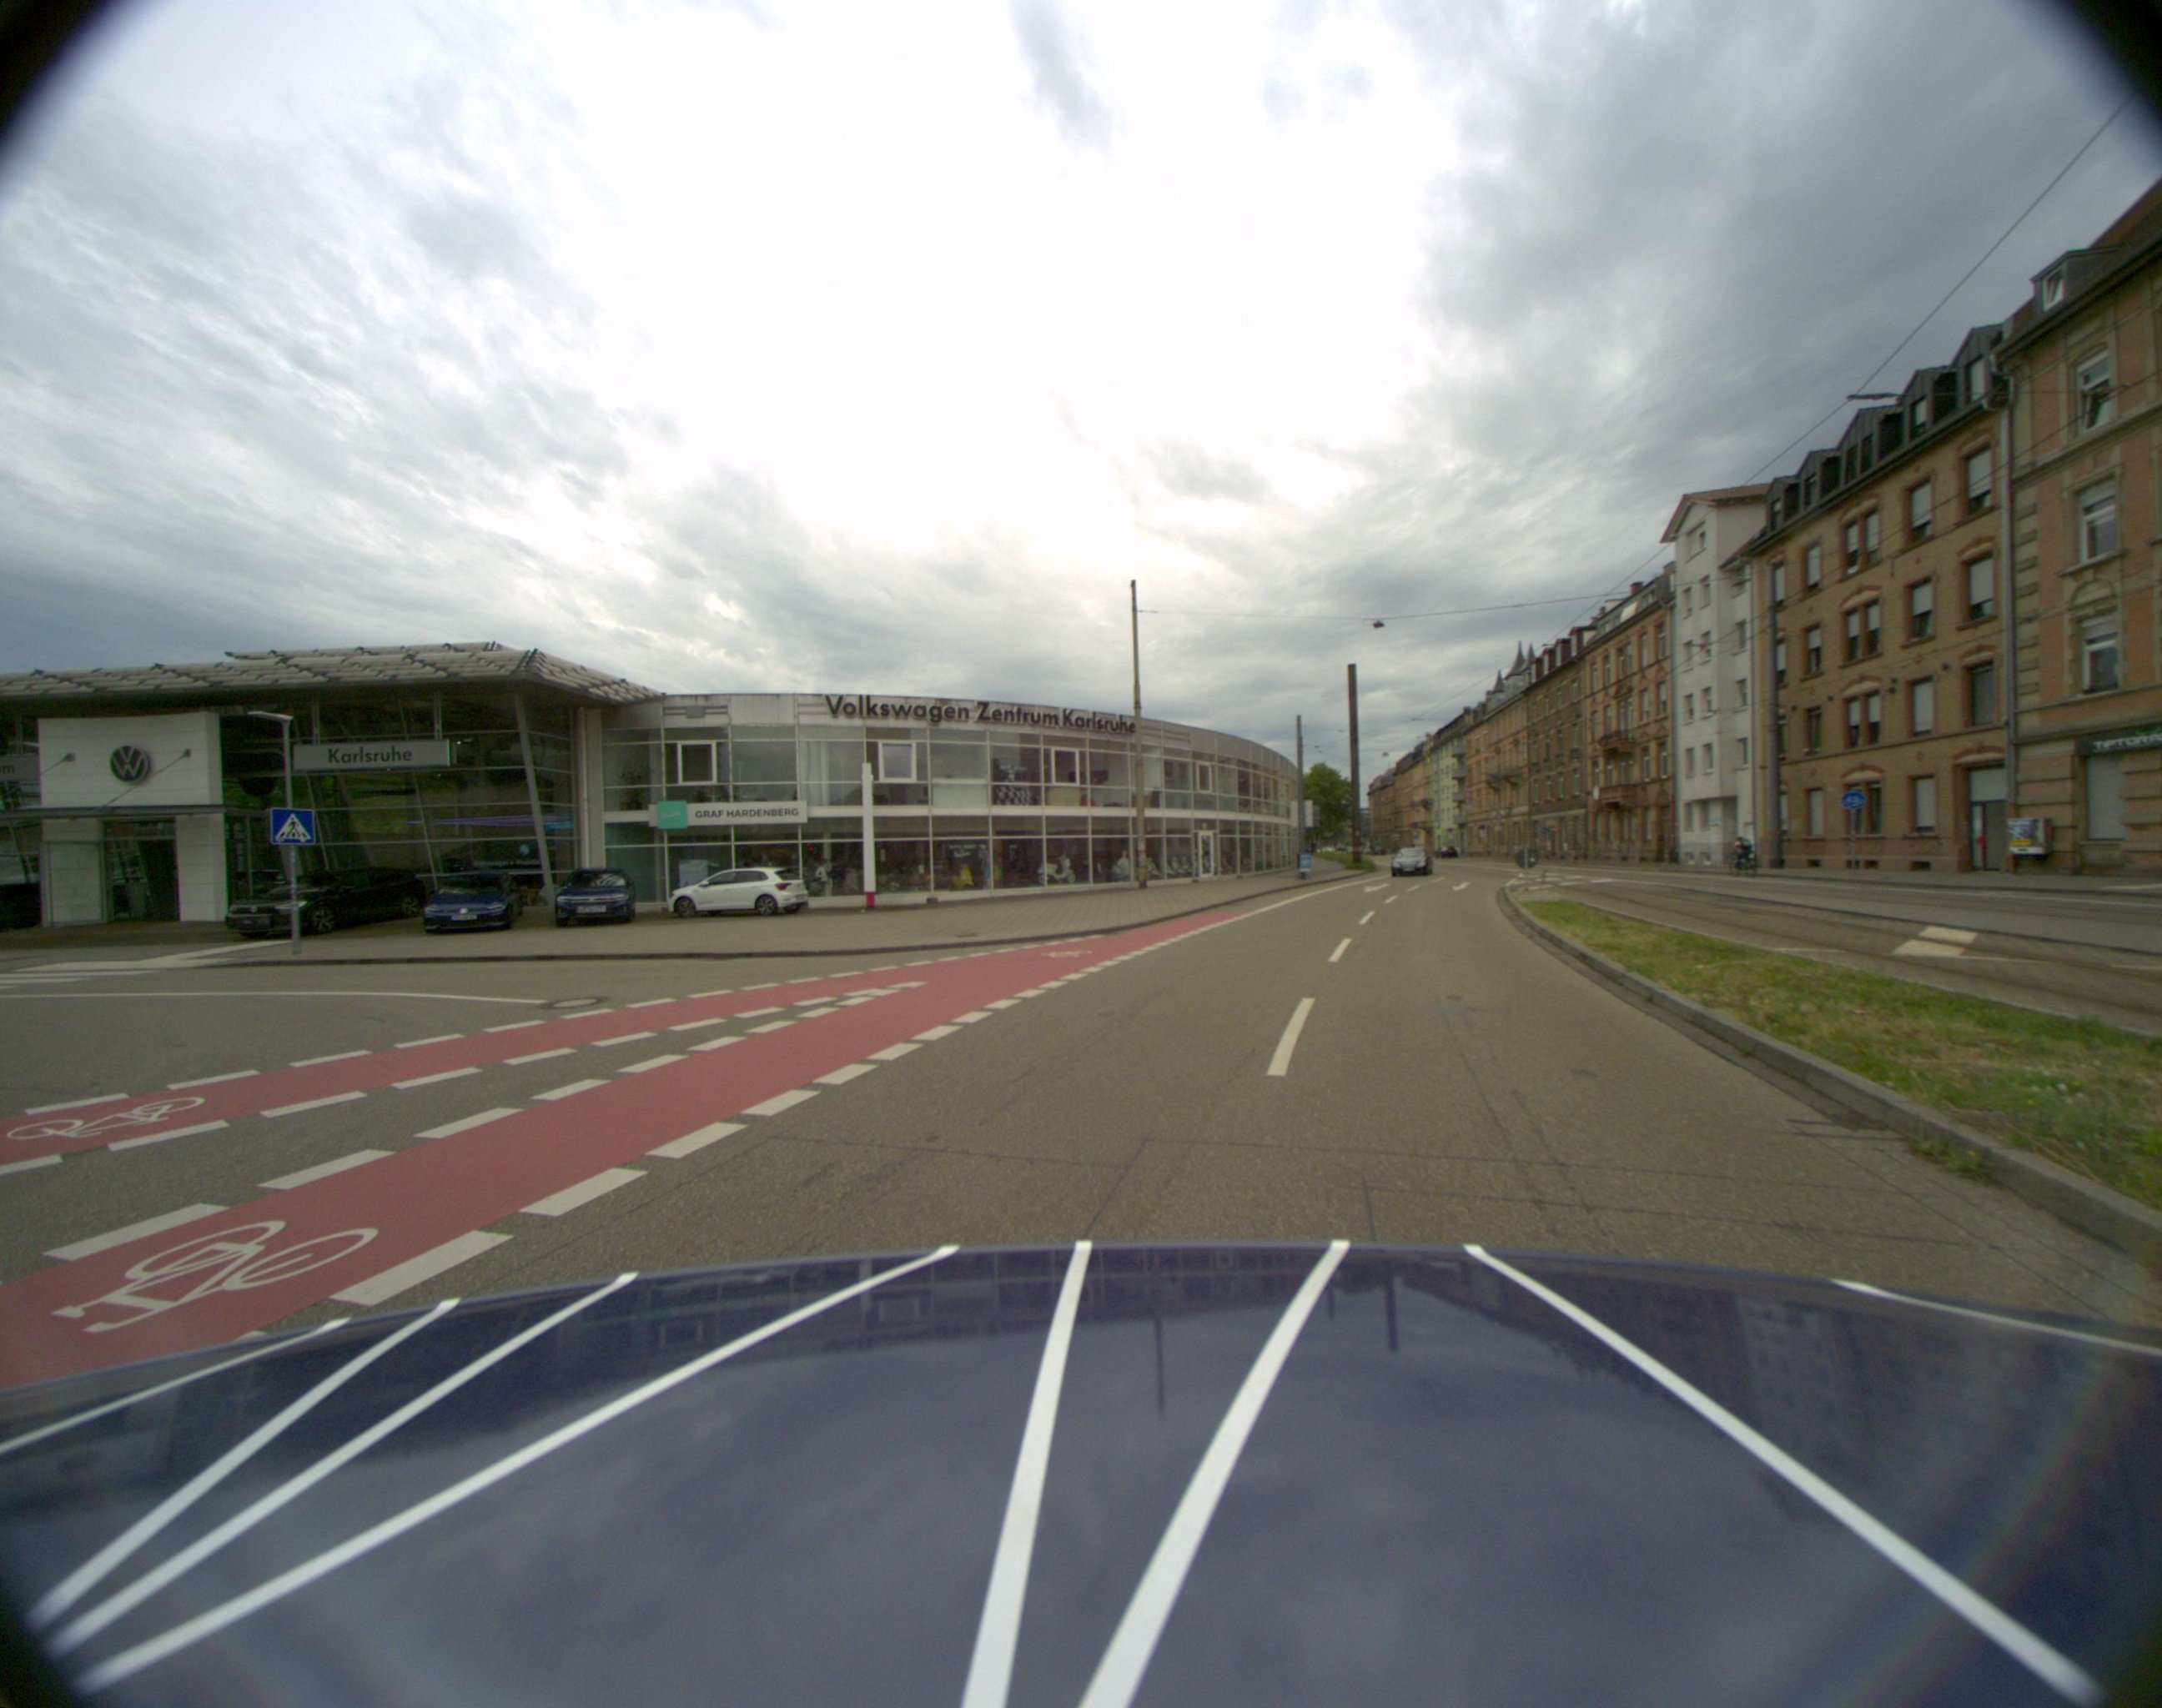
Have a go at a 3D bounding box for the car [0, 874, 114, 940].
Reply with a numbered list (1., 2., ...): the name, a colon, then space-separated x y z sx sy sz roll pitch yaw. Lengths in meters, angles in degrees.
1. car: -31.943 1.659 21.990 1.896 1.688 4.473 -2 4 3

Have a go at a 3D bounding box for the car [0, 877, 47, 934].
1. car: -34.654 1.763 22.261 1.859 1.690 4.773 -2 4 3

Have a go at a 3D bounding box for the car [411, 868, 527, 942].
1. car: -16.598 1.291 20.839 1.861 1.496 4.327 -2 3 -31

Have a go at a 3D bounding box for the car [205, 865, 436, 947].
1. car: -20.798 1.323 21.147 1.860 1.624 4.505 -3 4 -2

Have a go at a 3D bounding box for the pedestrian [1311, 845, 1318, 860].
1. pedestrian: 29.615 -0.160 96.441 0.870 1.843 0.706 -1 1 16

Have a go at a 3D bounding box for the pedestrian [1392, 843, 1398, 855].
1. pedestrian: 55.736 -0.881 134.801 0.813 2.002 0.734 -1 1 16

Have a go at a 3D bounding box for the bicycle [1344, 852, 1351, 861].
1. bicycle: 32.301 0.337 92.021 0.726 1.003 2.179 -1 0 22

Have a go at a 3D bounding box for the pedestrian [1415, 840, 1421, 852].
1. pedestrian: 53.800 -1.290 121.272 0.809 2.002 0.879 -1 1 16

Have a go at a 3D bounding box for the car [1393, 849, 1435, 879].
1. car: 17.178 0.503 39.101 1.711 1.413 4.076 -1 0 27

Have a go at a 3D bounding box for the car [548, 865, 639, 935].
1. car: -13.862 1.220 21.814 1.904 1.554 4.209 -2 3 -30

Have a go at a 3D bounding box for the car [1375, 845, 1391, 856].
1. car: 46.278 -0.486 116.395 1.800 1.630 4.235 -1 0 16

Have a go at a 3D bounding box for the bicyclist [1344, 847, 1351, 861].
1. bicyclist: 32.233 -0.010 91.843 0.729 1.747 0.912 -1 1 22

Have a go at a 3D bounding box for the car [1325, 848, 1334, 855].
1. car: 59.589 -0.617 182.121 1.800 1.630 4.235 -1 0 16

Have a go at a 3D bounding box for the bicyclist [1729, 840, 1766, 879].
1. bicyclist: 25.755 0.203 29.379 0.662 1.485 0.943 -2 1 12

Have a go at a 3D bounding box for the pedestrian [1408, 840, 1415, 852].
1. pedestrian: 52.908 -1.272 121.617 0.809 2.002 0.701 -1 1 16

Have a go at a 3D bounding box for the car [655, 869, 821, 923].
1. car: -10.402 1.251 23.209 4.258 1.444 1.784 -2 0 6

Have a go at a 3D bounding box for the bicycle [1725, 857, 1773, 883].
1. bicycle: 25.748 0.604 29.328 0.607 0.910 1.721 -2 0 12

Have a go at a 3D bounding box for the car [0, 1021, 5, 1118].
1. car: -8.147 1.281 3.556 1.757 1.458 4.089 -2 0 -25

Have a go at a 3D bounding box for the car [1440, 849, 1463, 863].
1. car: 42.297 0.255 86.725 1.850 1.471 3.833 -1 0 18
